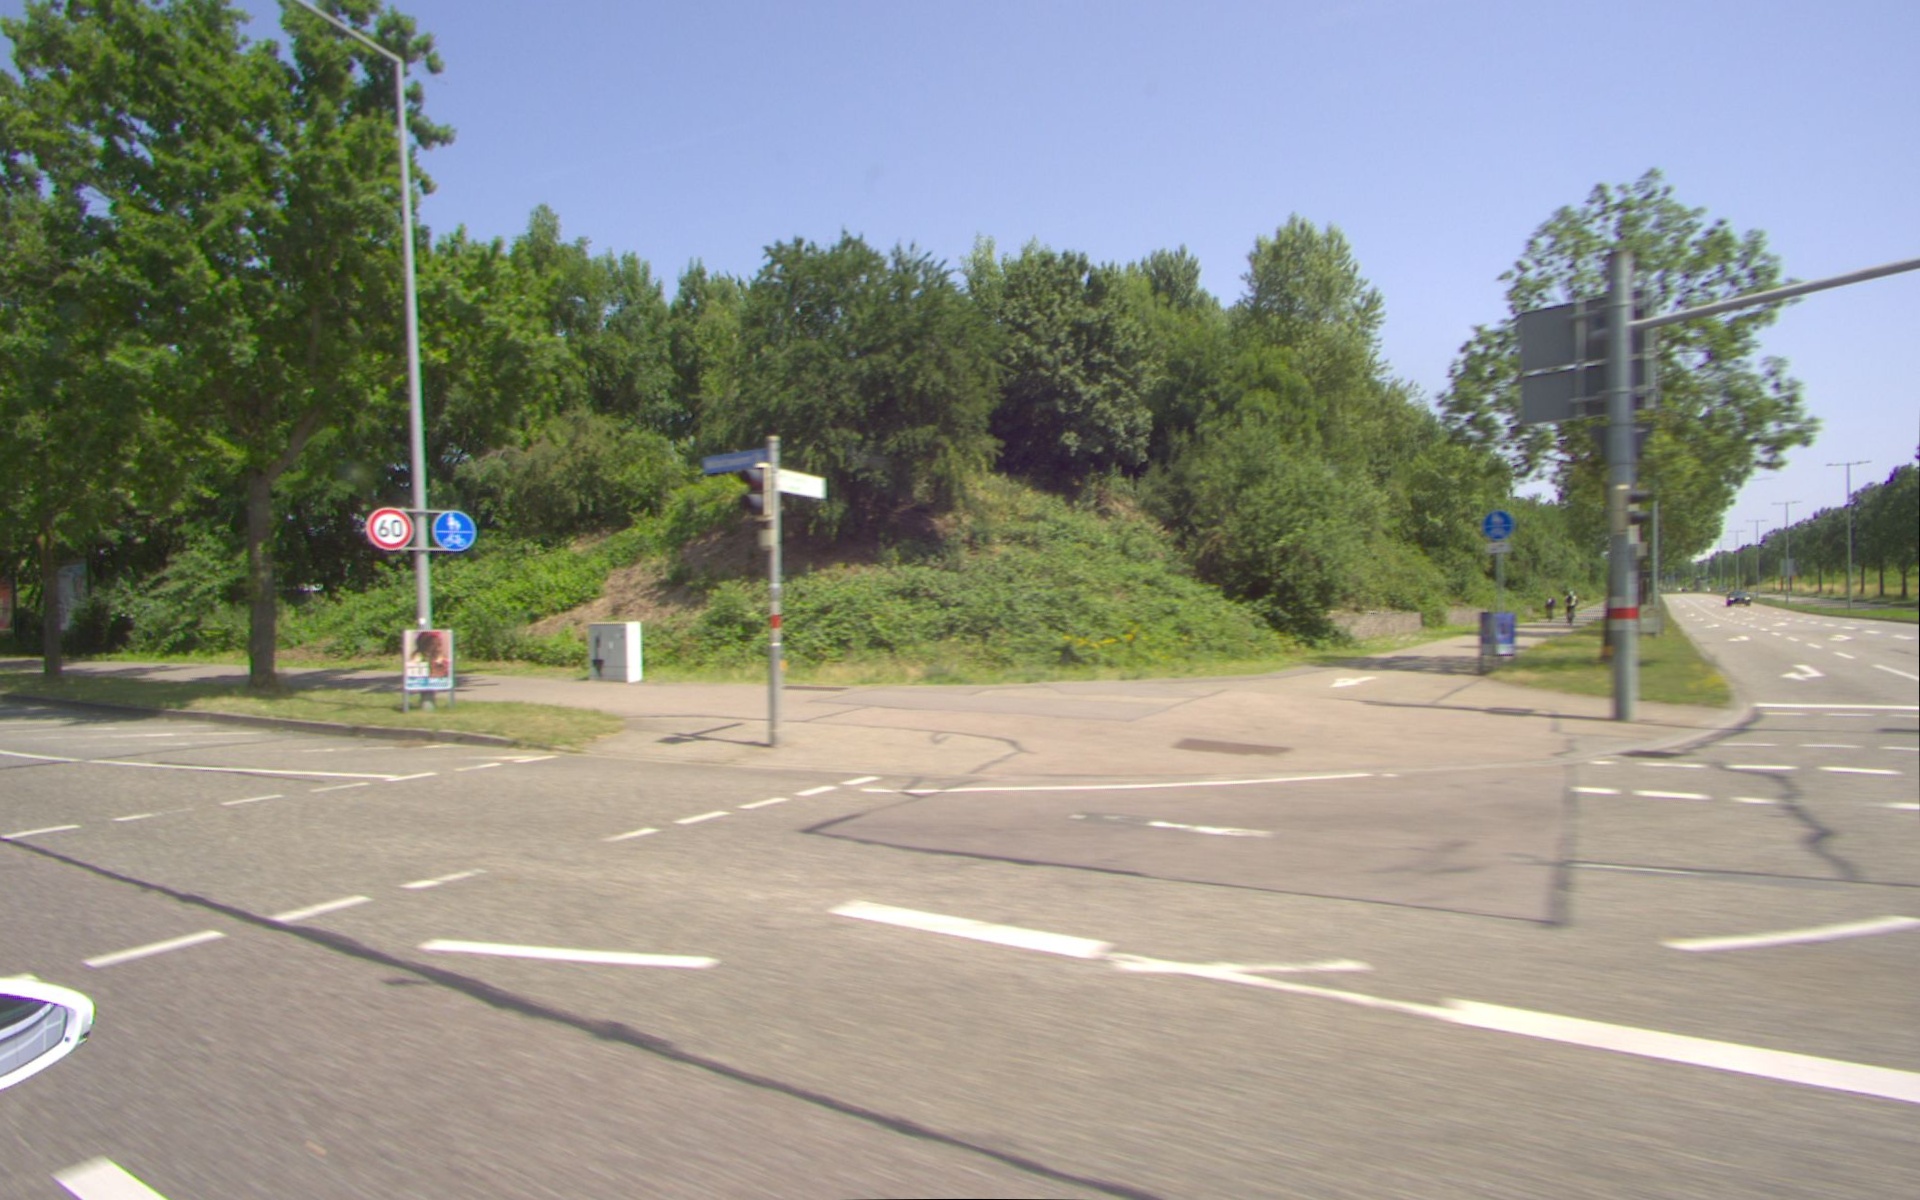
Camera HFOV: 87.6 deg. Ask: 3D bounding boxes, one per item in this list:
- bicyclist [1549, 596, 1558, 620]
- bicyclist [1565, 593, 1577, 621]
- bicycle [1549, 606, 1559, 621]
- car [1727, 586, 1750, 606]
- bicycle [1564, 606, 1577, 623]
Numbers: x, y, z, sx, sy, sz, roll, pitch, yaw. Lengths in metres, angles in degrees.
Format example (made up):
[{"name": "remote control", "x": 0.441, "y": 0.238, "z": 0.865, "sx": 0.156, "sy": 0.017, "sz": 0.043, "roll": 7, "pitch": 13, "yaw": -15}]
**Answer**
[{"name": "bicyclist", "x": 34.980, "y": 0.471, "z": 59.019, "sx": 0.415, "sy": 1.401, "sz": 0.487, "roll": 0, "pitch": 1, "yaw": 38}, {"name": "bicyclist", "x": 32.536, "y": 0.370, "z": 53.314, "sx": 0.478, "sy": 1.453, "sz": 0.487, "roll": 0, "pitch": 1, "yaw": 38}, {"name": "bicycle", "x": 34.988, "y": 0.796, "z": 59.021, "sx": 0.373, "sy": 0.896, "sz": 1.115, "roll": 0, "pitch": 1, "yaw": 38}, {"name": "car", "x": 85.348, "y": -0.442, "z": 109.769, "sx": 1.976, "sy": 2.040, "sz": 3.970, "roll": 0, "pitch": 0, "yaw": 39}, {"name": "bicycle", "x": 32.569, "y": 0.778, "z": 53.385, "sx": 0.435, "sy": 0.896, "sz": 1.443, "roll": 0, "pitch": 1, "yaw": 38}]
